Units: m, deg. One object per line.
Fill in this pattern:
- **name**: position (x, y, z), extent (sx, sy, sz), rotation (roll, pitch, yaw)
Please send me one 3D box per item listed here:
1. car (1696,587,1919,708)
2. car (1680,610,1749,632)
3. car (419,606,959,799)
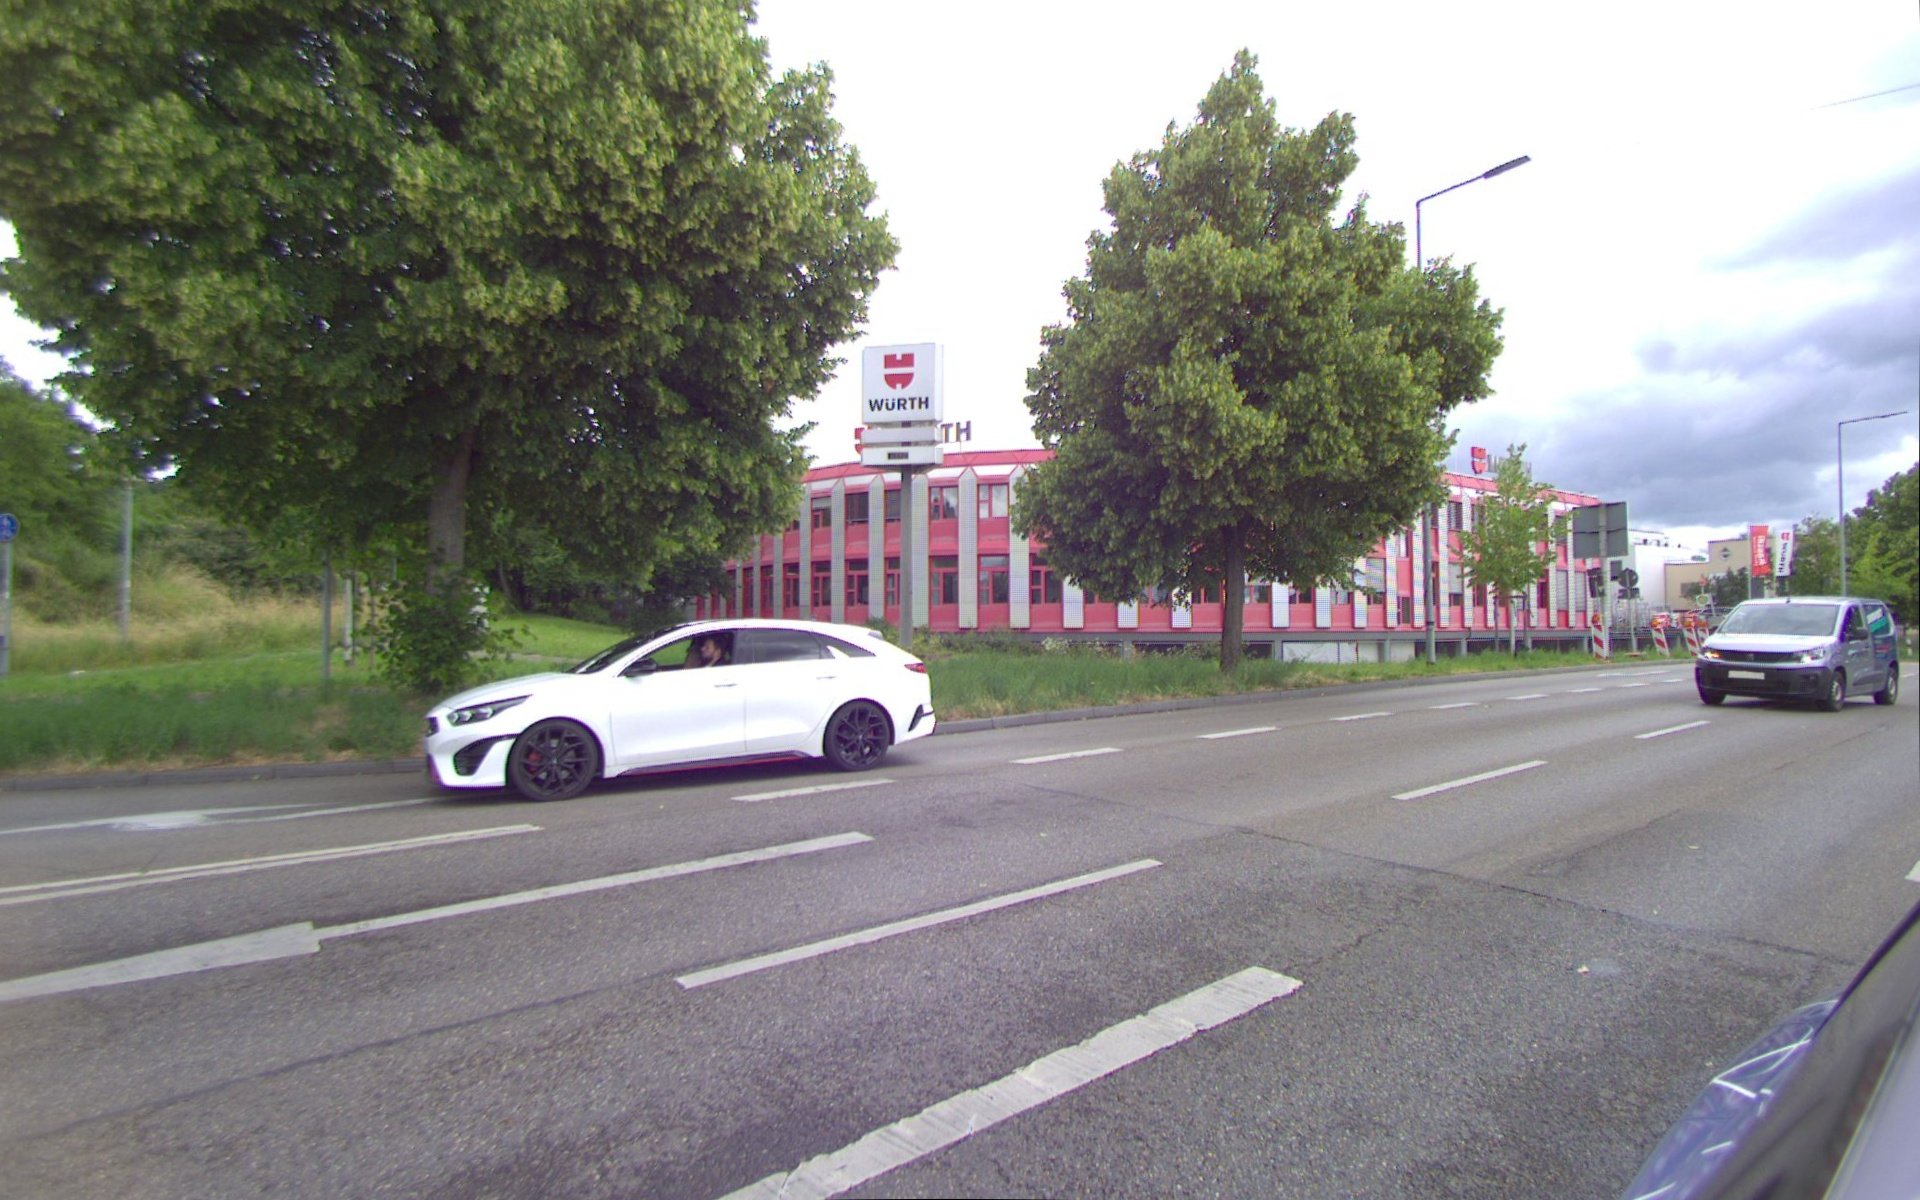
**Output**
- **car**: position (14.110, 0.701, 16.757), extent (4.170, 1.776, 1.784), rotation (0, 0, -34)
- **car**: position (61.800, 1.697, 82.971), extent (1.752, 1.776, 4.247), rotation (0, 0, -39)
- **car**: position (-2.340, 0.788, 9.167), extent (4.390, 1.380, 1.787), rotation (1, -2, -32)
